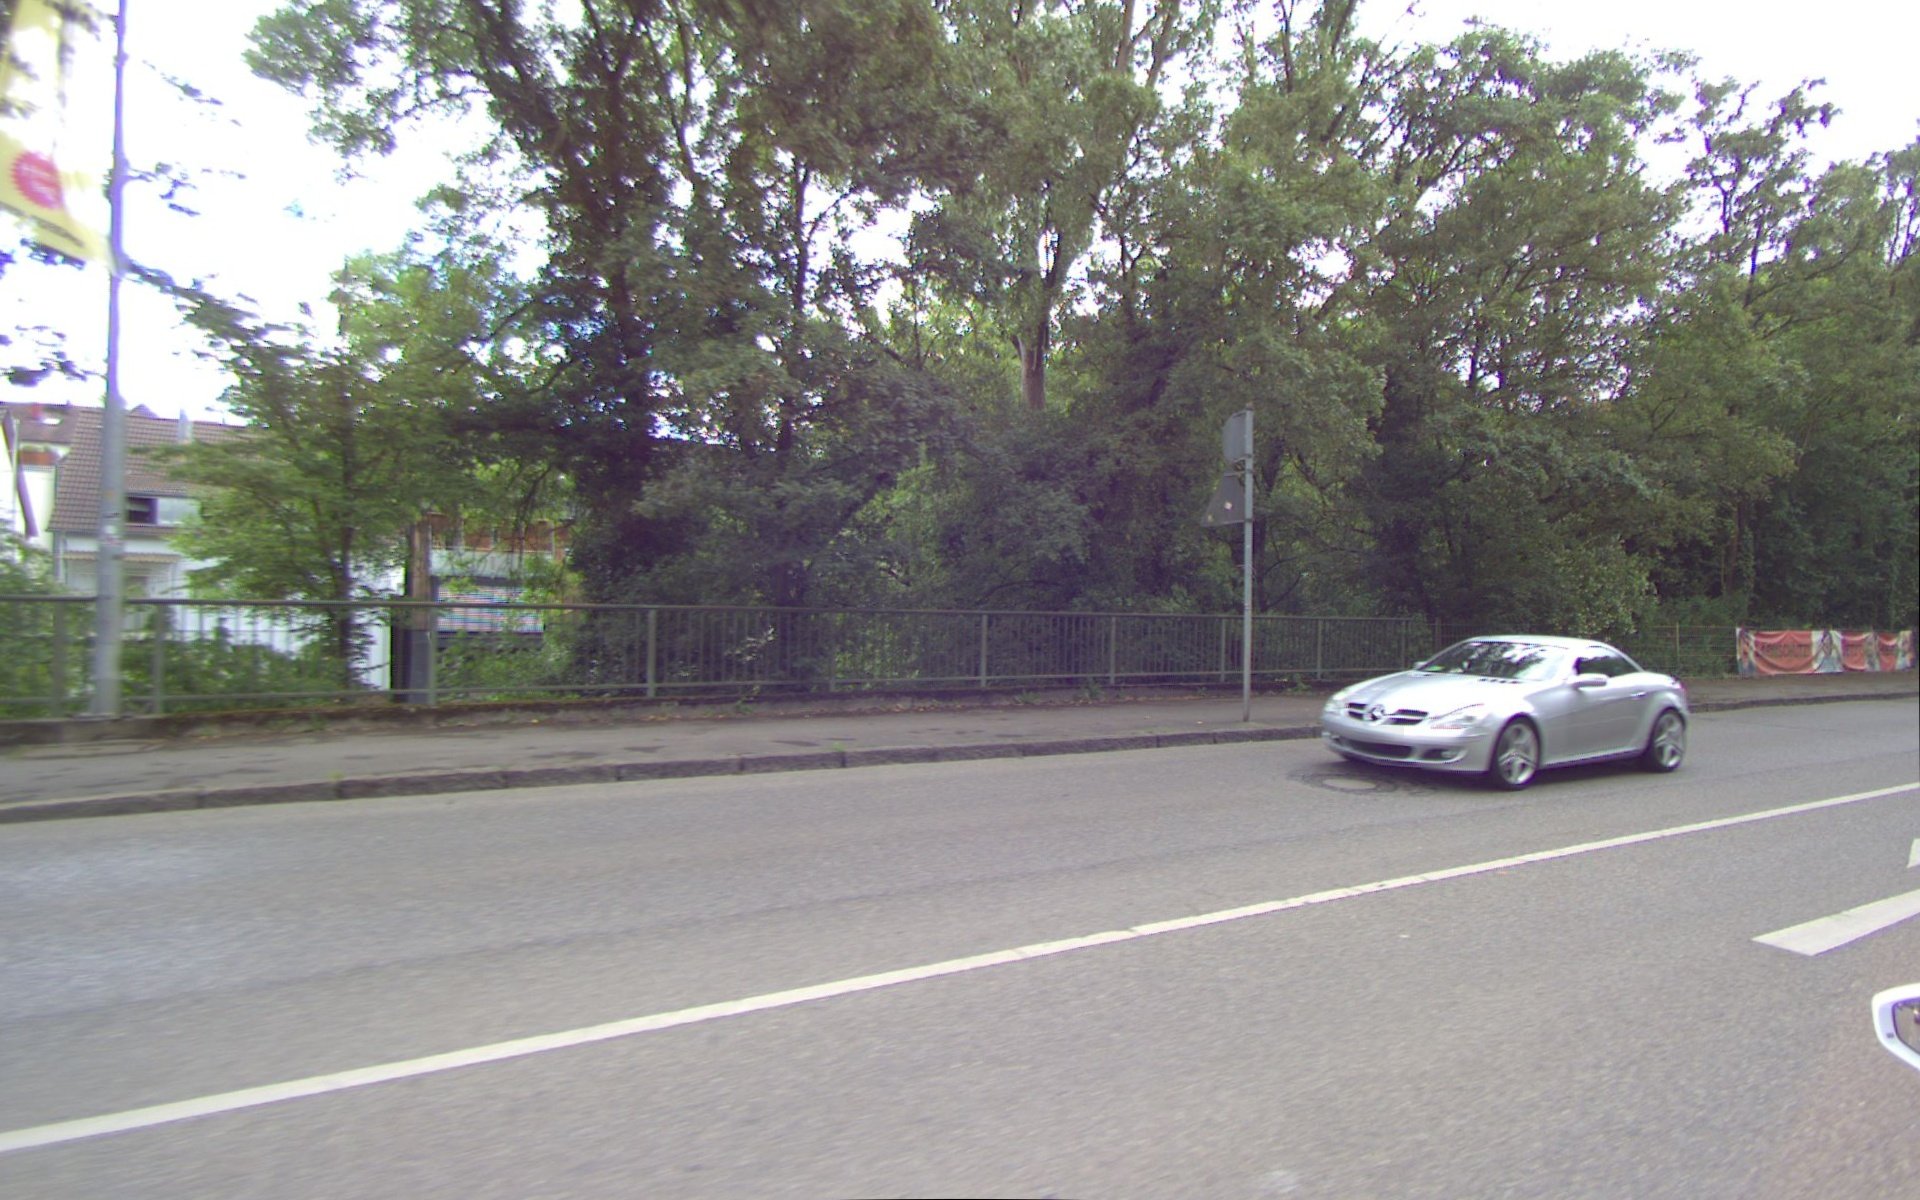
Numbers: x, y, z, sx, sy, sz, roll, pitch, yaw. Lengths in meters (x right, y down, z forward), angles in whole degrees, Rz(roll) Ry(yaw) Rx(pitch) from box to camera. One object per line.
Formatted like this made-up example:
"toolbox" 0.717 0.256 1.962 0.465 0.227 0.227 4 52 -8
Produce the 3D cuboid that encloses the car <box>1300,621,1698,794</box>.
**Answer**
"car" 5.257 0.916 9.743 3.652 1.355 1.750 1 0 -30
